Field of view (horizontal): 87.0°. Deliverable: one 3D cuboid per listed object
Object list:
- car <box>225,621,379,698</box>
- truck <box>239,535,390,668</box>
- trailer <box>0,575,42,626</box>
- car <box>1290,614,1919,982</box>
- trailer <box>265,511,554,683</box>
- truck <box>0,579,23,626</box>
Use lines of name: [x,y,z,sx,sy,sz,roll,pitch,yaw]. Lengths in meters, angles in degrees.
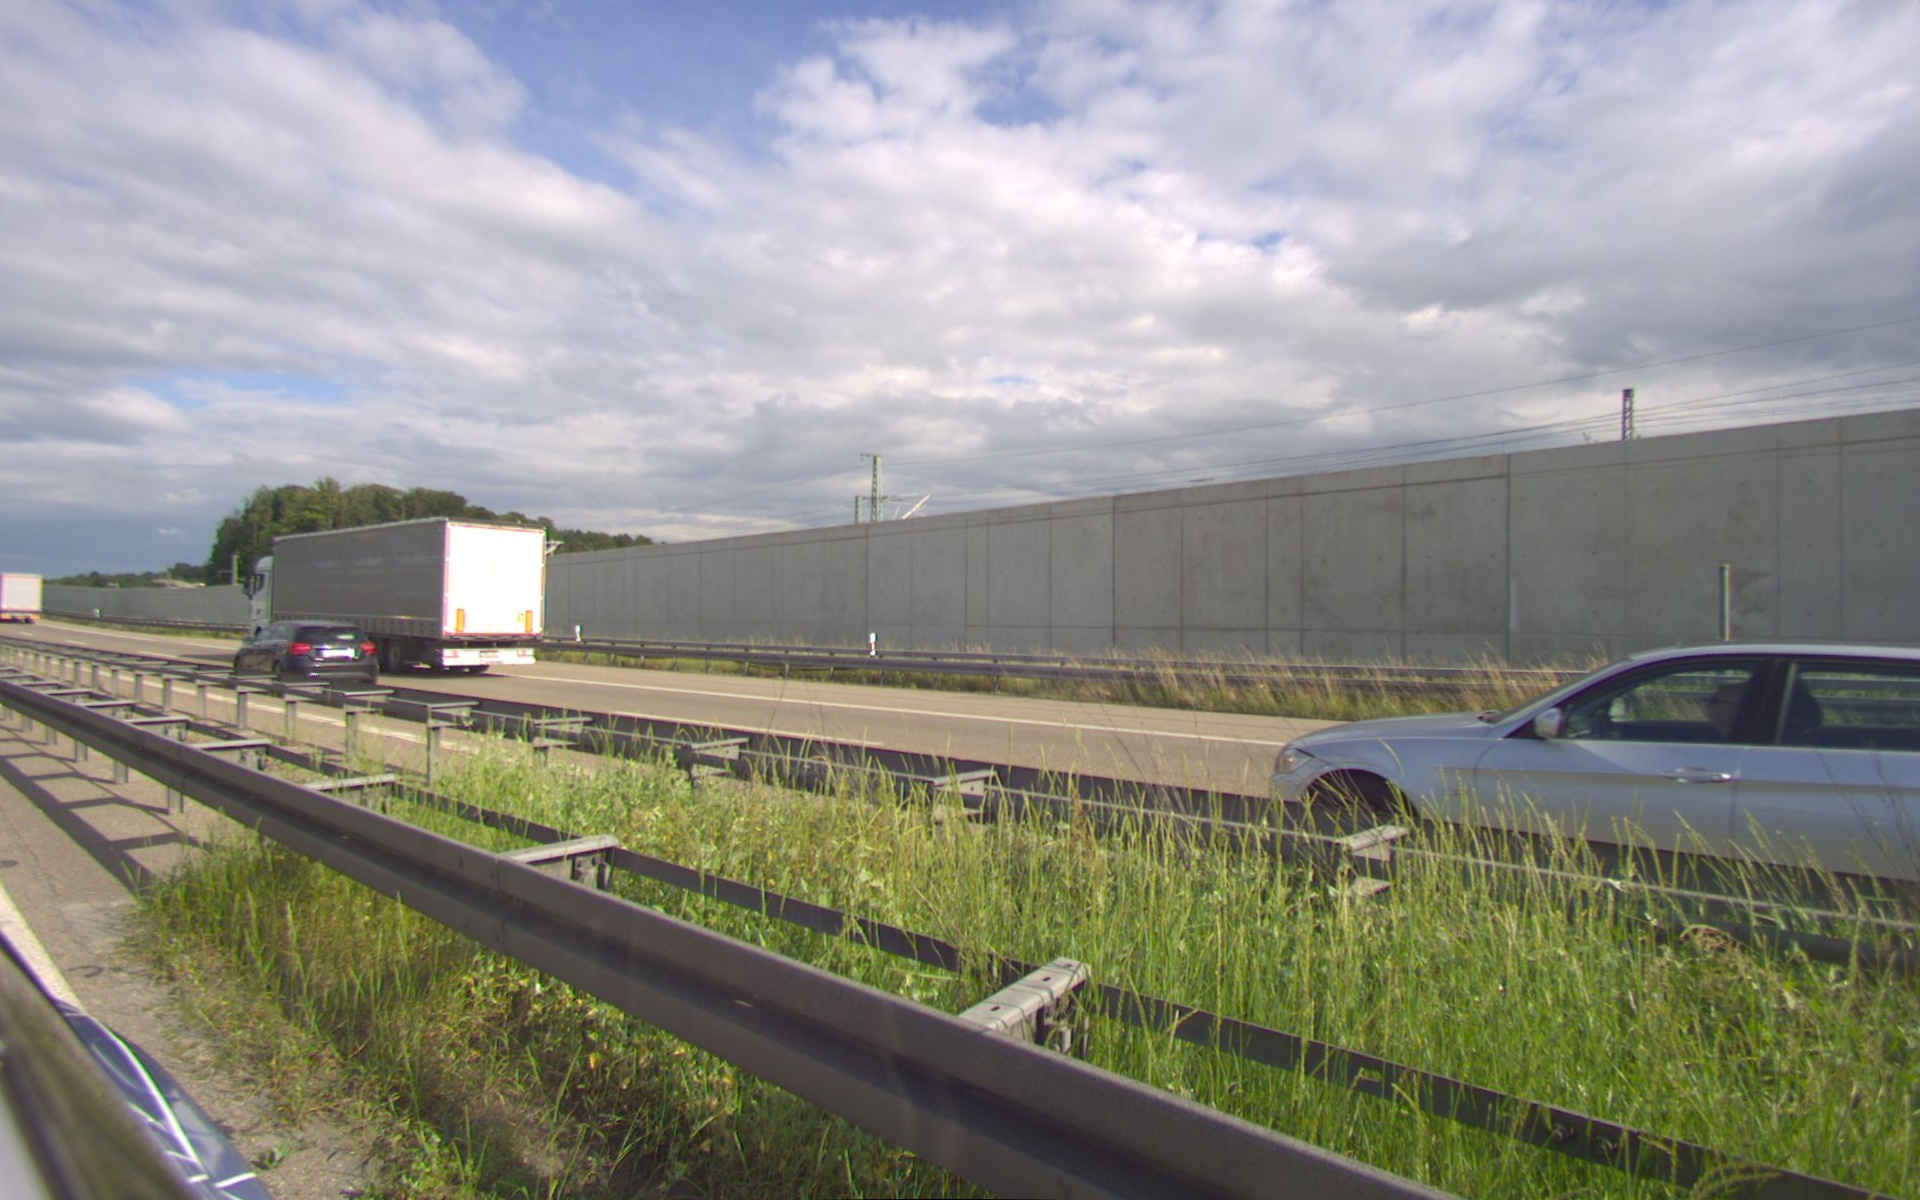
car: [-13.862,1.171,21.255,3.953,1.462,1.635,-1,-1,40]
truck: [-21.878,0.146,34.219,5.528,4.119,2.747,-1,-3,41]
trailer: [-81.855,0.166,86.969,13.783,4.069,2.656,-1,-2,41]
car: [4.069,0.803,5.046,4.230,1.462,1.854,-1,-1,41]
trailer: [-16.600,0.069,29.655,13.511,4.108,2.761,-1,-3,41]
truck: [-86.761,0.264,91.207,5.876,4.099,2.657,-1,-2,41]
